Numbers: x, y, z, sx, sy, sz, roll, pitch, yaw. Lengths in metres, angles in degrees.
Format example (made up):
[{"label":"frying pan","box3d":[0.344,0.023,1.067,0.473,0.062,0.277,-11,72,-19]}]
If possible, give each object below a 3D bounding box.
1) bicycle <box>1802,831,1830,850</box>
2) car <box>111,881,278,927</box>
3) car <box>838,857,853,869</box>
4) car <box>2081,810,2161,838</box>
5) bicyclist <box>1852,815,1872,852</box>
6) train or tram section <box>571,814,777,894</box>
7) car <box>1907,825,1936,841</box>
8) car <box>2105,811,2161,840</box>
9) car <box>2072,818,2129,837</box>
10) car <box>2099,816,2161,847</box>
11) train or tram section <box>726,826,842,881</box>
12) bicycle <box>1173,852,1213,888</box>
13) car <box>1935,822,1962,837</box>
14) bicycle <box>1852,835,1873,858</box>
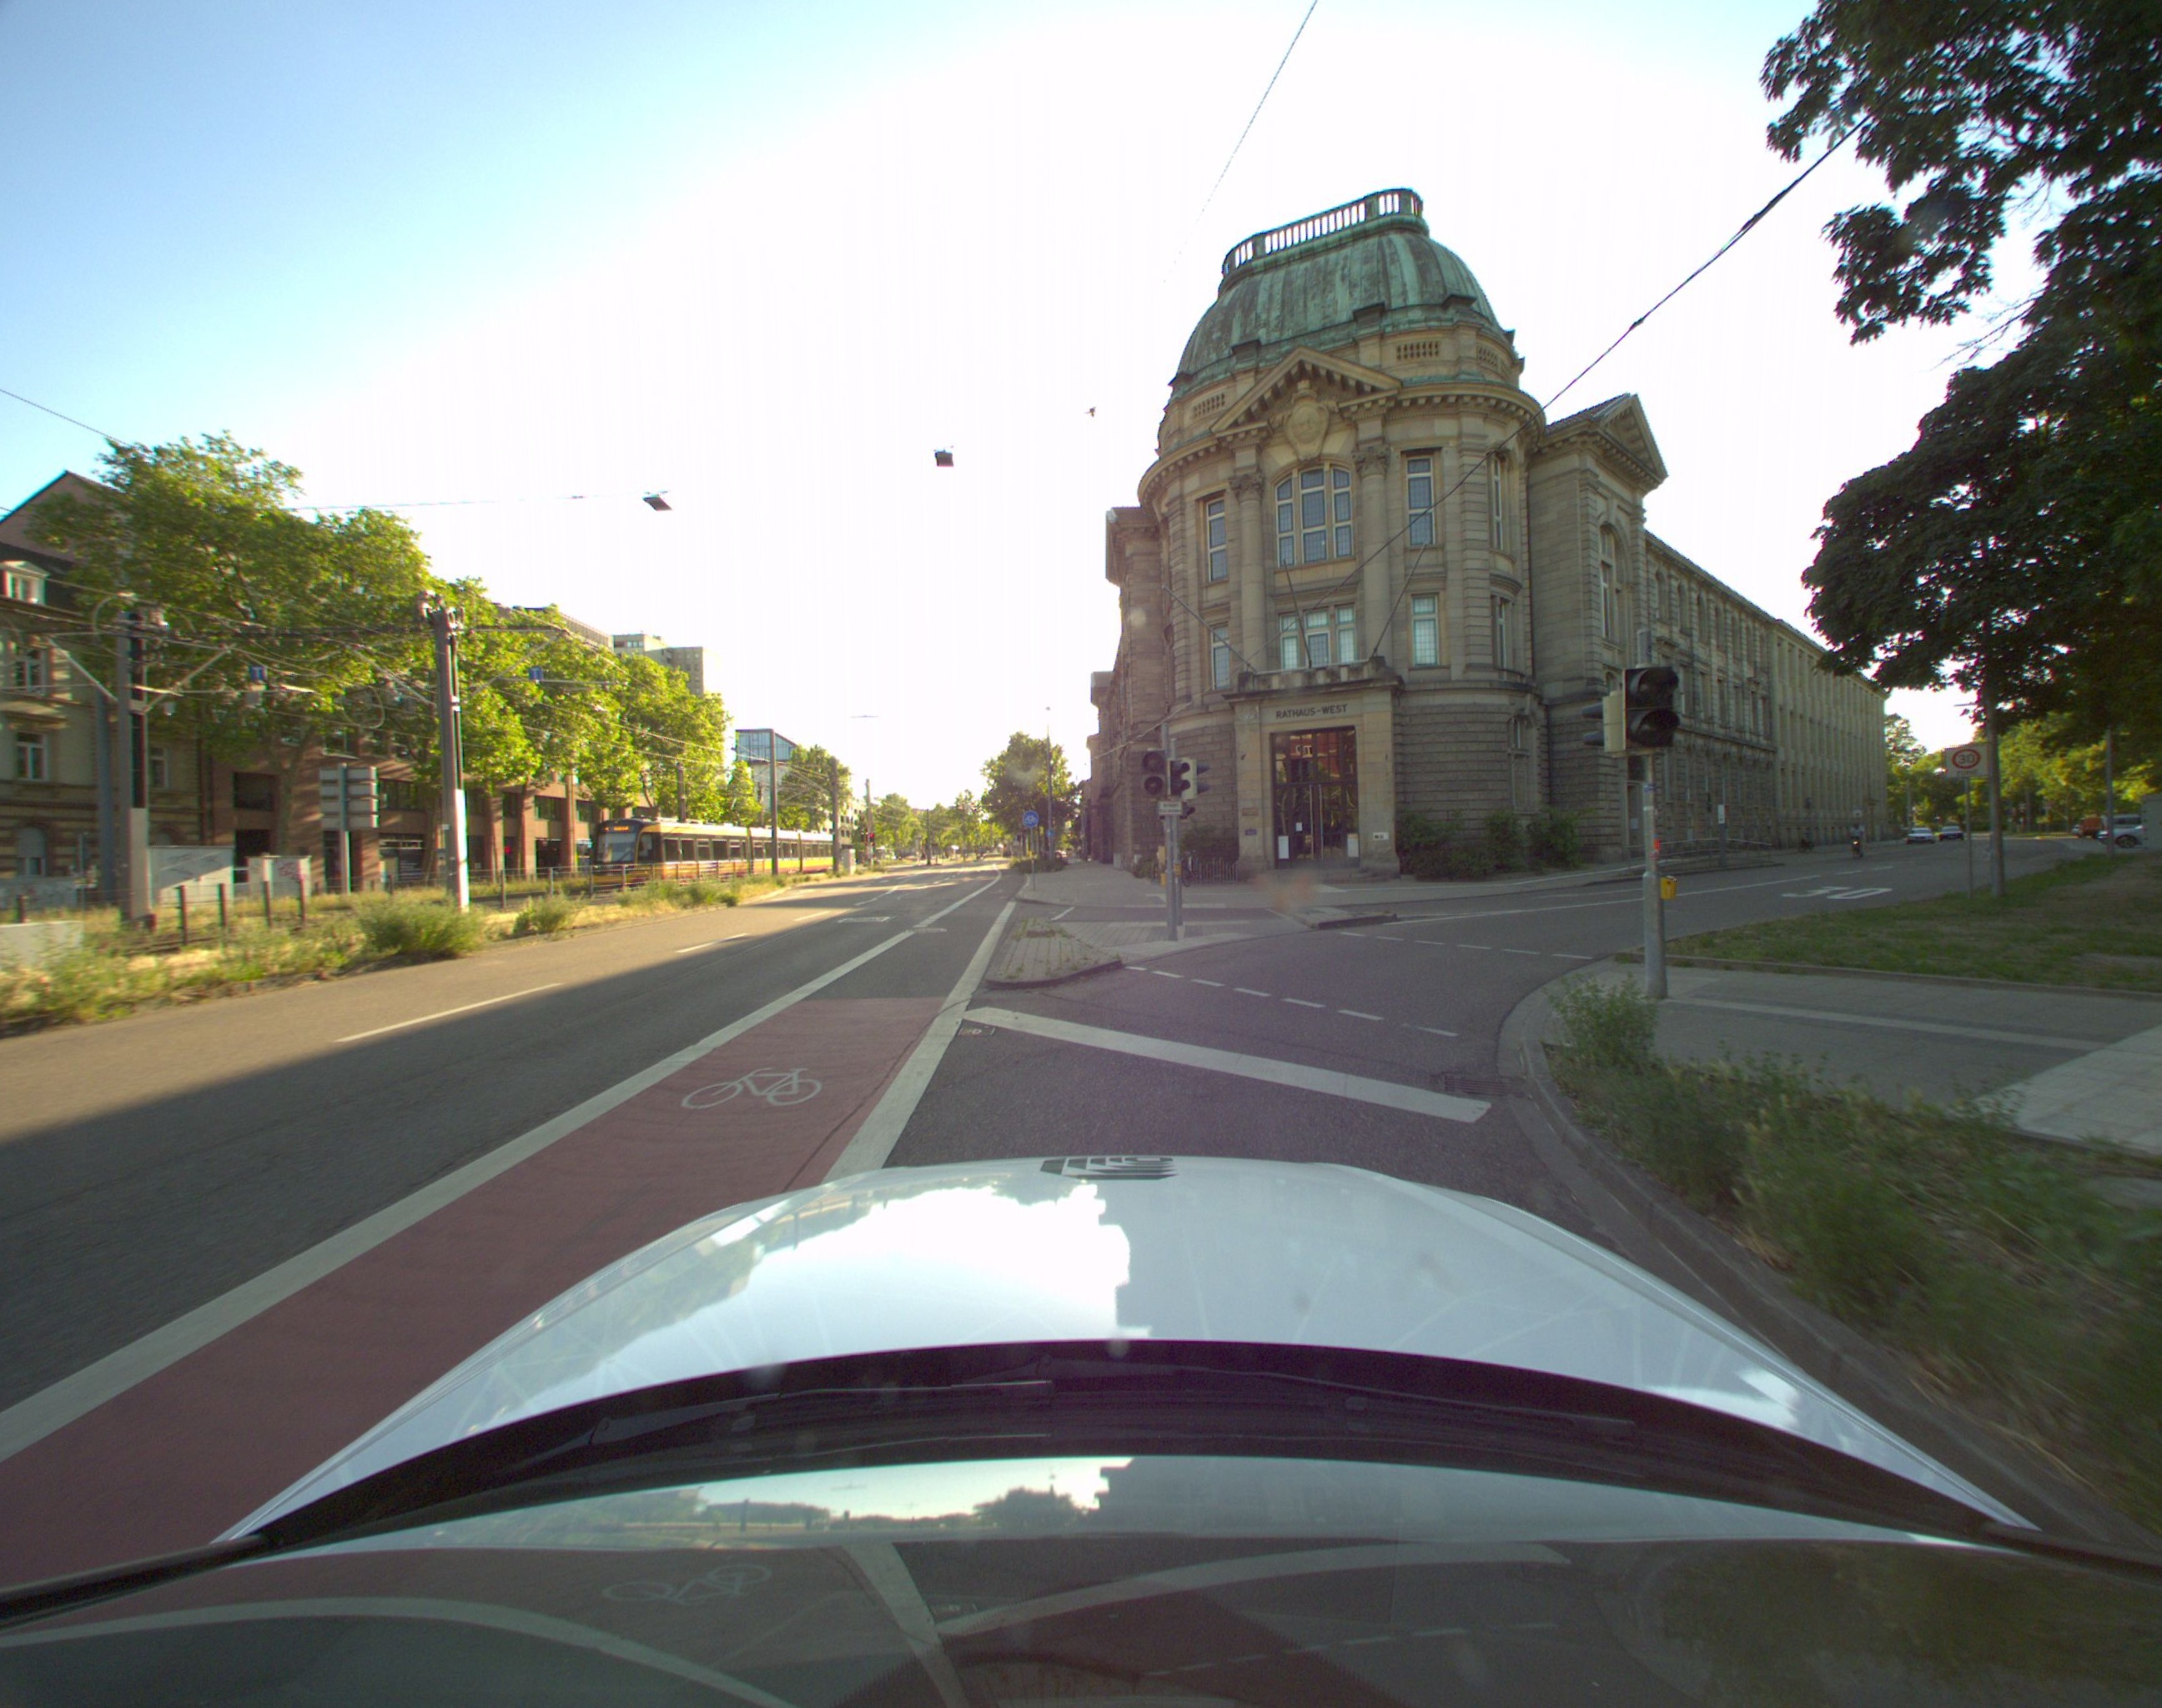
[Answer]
[{"label":"bicycle","box3d":[44.194,-0.801,48.950,1.990,1.101,0.846,-2,2,-35]},{"label":"car","box3d":[-36.850,2.015,34.071,1.755,1.585,4.733,-2,0,-1]},{"label":"car","box3d":[-30.593,1.188,105.967,1.607,1.529,3.541,-2,0,-13]},{"label":"car","box3d":[88.160,-2.503,68.552,4.773,2.014,1.813,-4,-2,45]},{"label":"bicyclist","box3d":[38.458,-1.000,40.113,0.639,1.807,0.785,-3,-1,42]},{"label":"train or tram section","box3d":[-21.949,-0.015,46.119,3.103,3.559,17.468,-2,0,-1]},{"label":"car","box3d":[78.384,-2.001,75.950,4.397,1.397,1.712,-2,0,-42]},{"label":"car","box3d":[73.805,-2.004,55.946,2.010,1.860,4.194,-1,-2,-38]},{"label":"car","box3d":[95.723,-2.456,76.493,3.114,1.503,1.550,-4,-2,44]},{"label":"car","box3d":[56.262,-1.219,42.121,1.791,1.469,4.403,-2,-1,-39]},{"label":"train or tram section","box3d":[-22.839,-0.014,64.529,3.106,3.559,19.902,-2,0,-4]},{"label":"bicycle","box3d":[4.048,0.544,29.323,0.859,1.196,2.251,-2,0,22]},{"label":"car","box3d":[92.244,-2.595,86.554,4.397,1.466,1.862,-2,0,-42]},{"label":"bicycle","box3d":[38.591,-0.395,40.232,0.656,1.070,2.166,-2,-1,42]}]
